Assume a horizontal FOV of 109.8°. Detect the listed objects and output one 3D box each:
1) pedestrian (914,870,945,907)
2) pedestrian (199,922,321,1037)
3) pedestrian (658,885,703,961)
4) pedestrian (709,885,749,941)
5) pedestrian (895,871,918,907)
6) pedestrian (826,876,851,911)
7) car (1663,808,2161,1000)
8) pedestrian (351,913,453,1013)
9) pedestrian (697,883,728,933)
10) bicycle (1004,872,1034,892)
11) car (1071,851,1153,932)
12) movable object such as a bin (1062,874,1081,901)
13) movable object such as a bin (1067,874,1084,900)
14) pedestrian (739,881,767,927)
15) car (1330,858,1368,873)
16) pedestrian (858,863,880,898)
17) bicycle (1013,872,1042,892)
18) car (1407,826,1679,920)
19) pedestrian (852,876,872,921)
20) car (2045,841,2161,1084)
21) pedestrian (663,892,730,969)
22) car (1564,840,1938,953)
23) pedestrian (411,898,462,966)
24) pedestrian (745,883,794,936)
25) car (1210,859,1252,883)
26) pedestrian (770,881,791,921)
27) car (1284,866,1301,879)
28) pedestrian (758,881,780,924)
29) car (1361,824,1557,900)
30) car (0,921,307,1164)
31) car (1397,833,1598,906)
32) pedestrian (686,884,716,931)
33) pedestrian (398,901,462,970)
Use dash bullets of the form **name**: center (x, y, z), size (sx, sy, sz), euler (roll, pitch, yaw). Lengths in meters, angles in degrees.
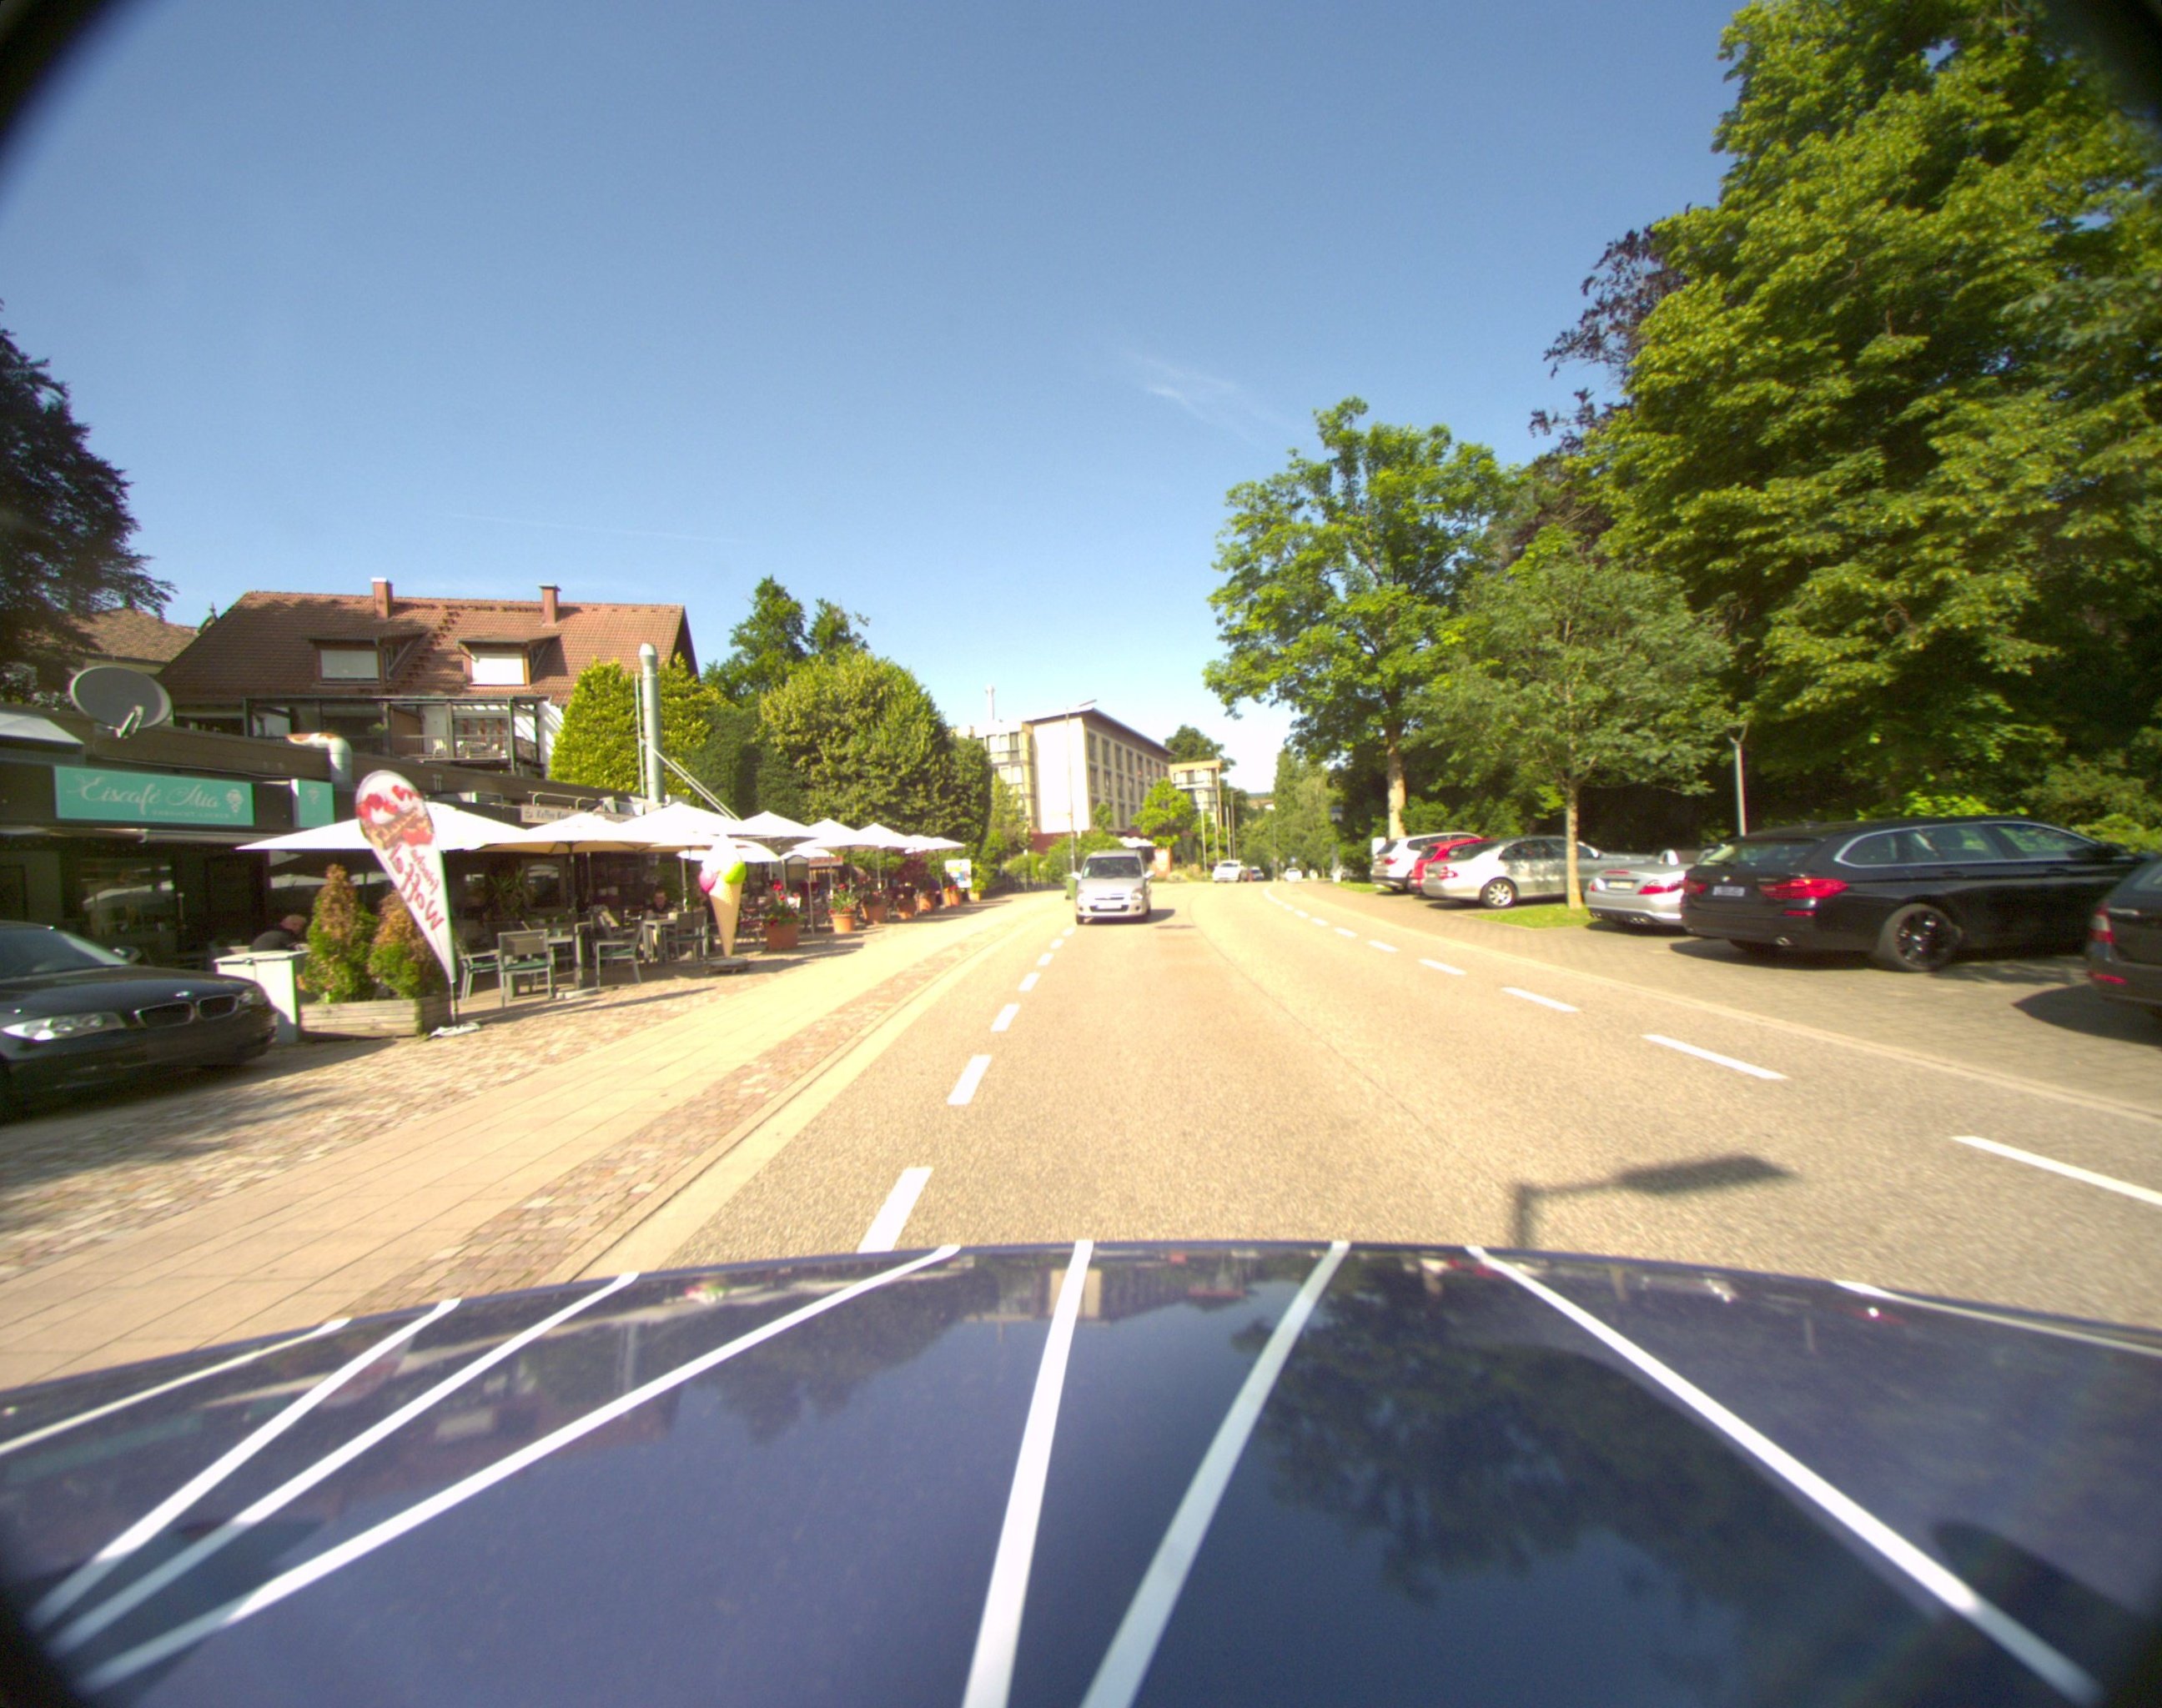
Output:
- **pedestrian**: center (-5.497, 1.248, 27.576), size (0.950, 1.276, 0.645), euler (-2, 0, -1)
- **pedestrian**: center (-10.080, 1.507, 9.341), size (0.699, 1.253, 0.814), euler (-2, 0, 27)
- **pedestrian**: center (-7.751, 1.304, 14.705), size (0.701, 1.373, 0.810), euler (-2, 0, -29)
- **pedestrian**: center (-8.468, 1.406, 18.277), size (0.701, 1.253, 0.810), euler (-3, 0, -34)
- **pedestrian**: center (-6.374, 1.272, 27.732), size (0.649, 1.276, 0.645), euler (-2, 0, -1)
- **pedestrian**: center (-8.657, 1.407, 27.164), size (0.507, 1.224, 0.700), euler (-2, 0, 21)
- **car**: center (9.090, 0.447, 8.018), size (4.505, 1.501, 1.713), euler (-5, 0, 0)
- **pedestrian**: center (-9.394, 1.474, 10.529), size (0.699, 1.253, 0.814), euler (-2, 0, 27)
- **pedestrian**: center (-10.053, 1.458, 20.735), size (0.639, 1.297, 0.579), euler (-2, 0, -35)
- **bicycle**: center (-2.978, 1.351, 36.507), size (1.543, 0.904, 0.385), euler (0, 0, 34)
- **car**: center (0.846, 0.795, 18.083), size (1.604, 1.628, 4.002), euler (-2, 0, 6)
- **movable object such as a bin**: center (-0.342, 1.209, 27.464), size (0.548, 0.920, 0.520), euler (-2, 0, 11)
- **movable object such as a bin**: center (-0.198, 1.215, 27.994), size (0.514, 0.907, 0.442), euler (-2, 0, 11)
- **pedestrian**: center (-9.594, 1.447, 22.213), size (0.531, 1.297, 0.609), euler (-2, 0, -2)
- **car**: center (29.908, 1.306, 84.674), size (4.005, 1.388, 1.514), euler (-3, -3, -25)
- **pedestrian**: center (-7.730, 0.966, 27.733), size (0.596, 1.230, 0.507), euler (-2, 0, -40)
- **bicycle**: center (-2.638, 1.358, 37.339), size (1.543, 0.977, 0.385), euler (-1, 0, 34)
- **car**: center (9.594, 0.379, 16.134), size (4.491, 1.409, 1.811), euler (-6, 1, 9)
- **pedestrian**: center (-6.182, 1.247, 21.470), size (0.473, 1.238, 0.592), euler (-2, 1, -15)
- **car**: center (8.710, 0.510, 4.455), size (4.288, 1.423, 1.712), euler (-5, 0, -6)
- **pedestrian**: center (-6.768, 1.329, 13.414), size (0.812, 1.253, 0.700), euler (-2, 0, -8)
- **car**: center (9.453, 0.556, 10.963), size (3.803, 1.236, 1.762), euler (-4, 1, 0)
- **pedestrian**: center (-13.134, 1.568, 15.478), size (0.686, 1.291, 0.638), euler (-2, 1, 40)
- **pedestrian**: center (-7.713, 1.363, 18.837), size (0.810, 1.253, 0.701), euler (-2, 0, 20)
- **car**: center (10.001, 1.129, 50.519), size (1.737, 1.488, 3.937), euler (-2, -1, 26)
- **pedestrian**: center (-9.686, 1.499, 24.503), size (0.409, 1.260, 0.509), euler (-2, 0, 11)
- **car**: center (26.237, 2.266, 94.363), size (1.738, 1.389, 4.004), euler (-2, 0, 13)
- **pedestrian**: center (-9.418, 1.453, 22.947), size (0.470, 1.258, 0.440), euler (-2, 0, -3)
- **car**: center (10.552, 0.213, 21.462), size (4.493, 1.654, 1.810), euler (-5, 1, 3)
- **car**: center (-8.818, 1.357, 5.697), size (4.272, 1.371, 1.709), euler (-3, 1, 2)
- **car**: center (10.298, 0.372, 19.053), size (3.995, 1.424, 1.720), euler (-5, 1, 7)
- **pedestrian**: center (-10.664, 1.490, 21.317), size (0.639, 1.275, 0.579), euler (-2, 0, -35)
- **pedestrian**: center (-12.308, 1.522, 14.367), size (0.686, 1.201, 0.702), euler (-2, 0, 33)
